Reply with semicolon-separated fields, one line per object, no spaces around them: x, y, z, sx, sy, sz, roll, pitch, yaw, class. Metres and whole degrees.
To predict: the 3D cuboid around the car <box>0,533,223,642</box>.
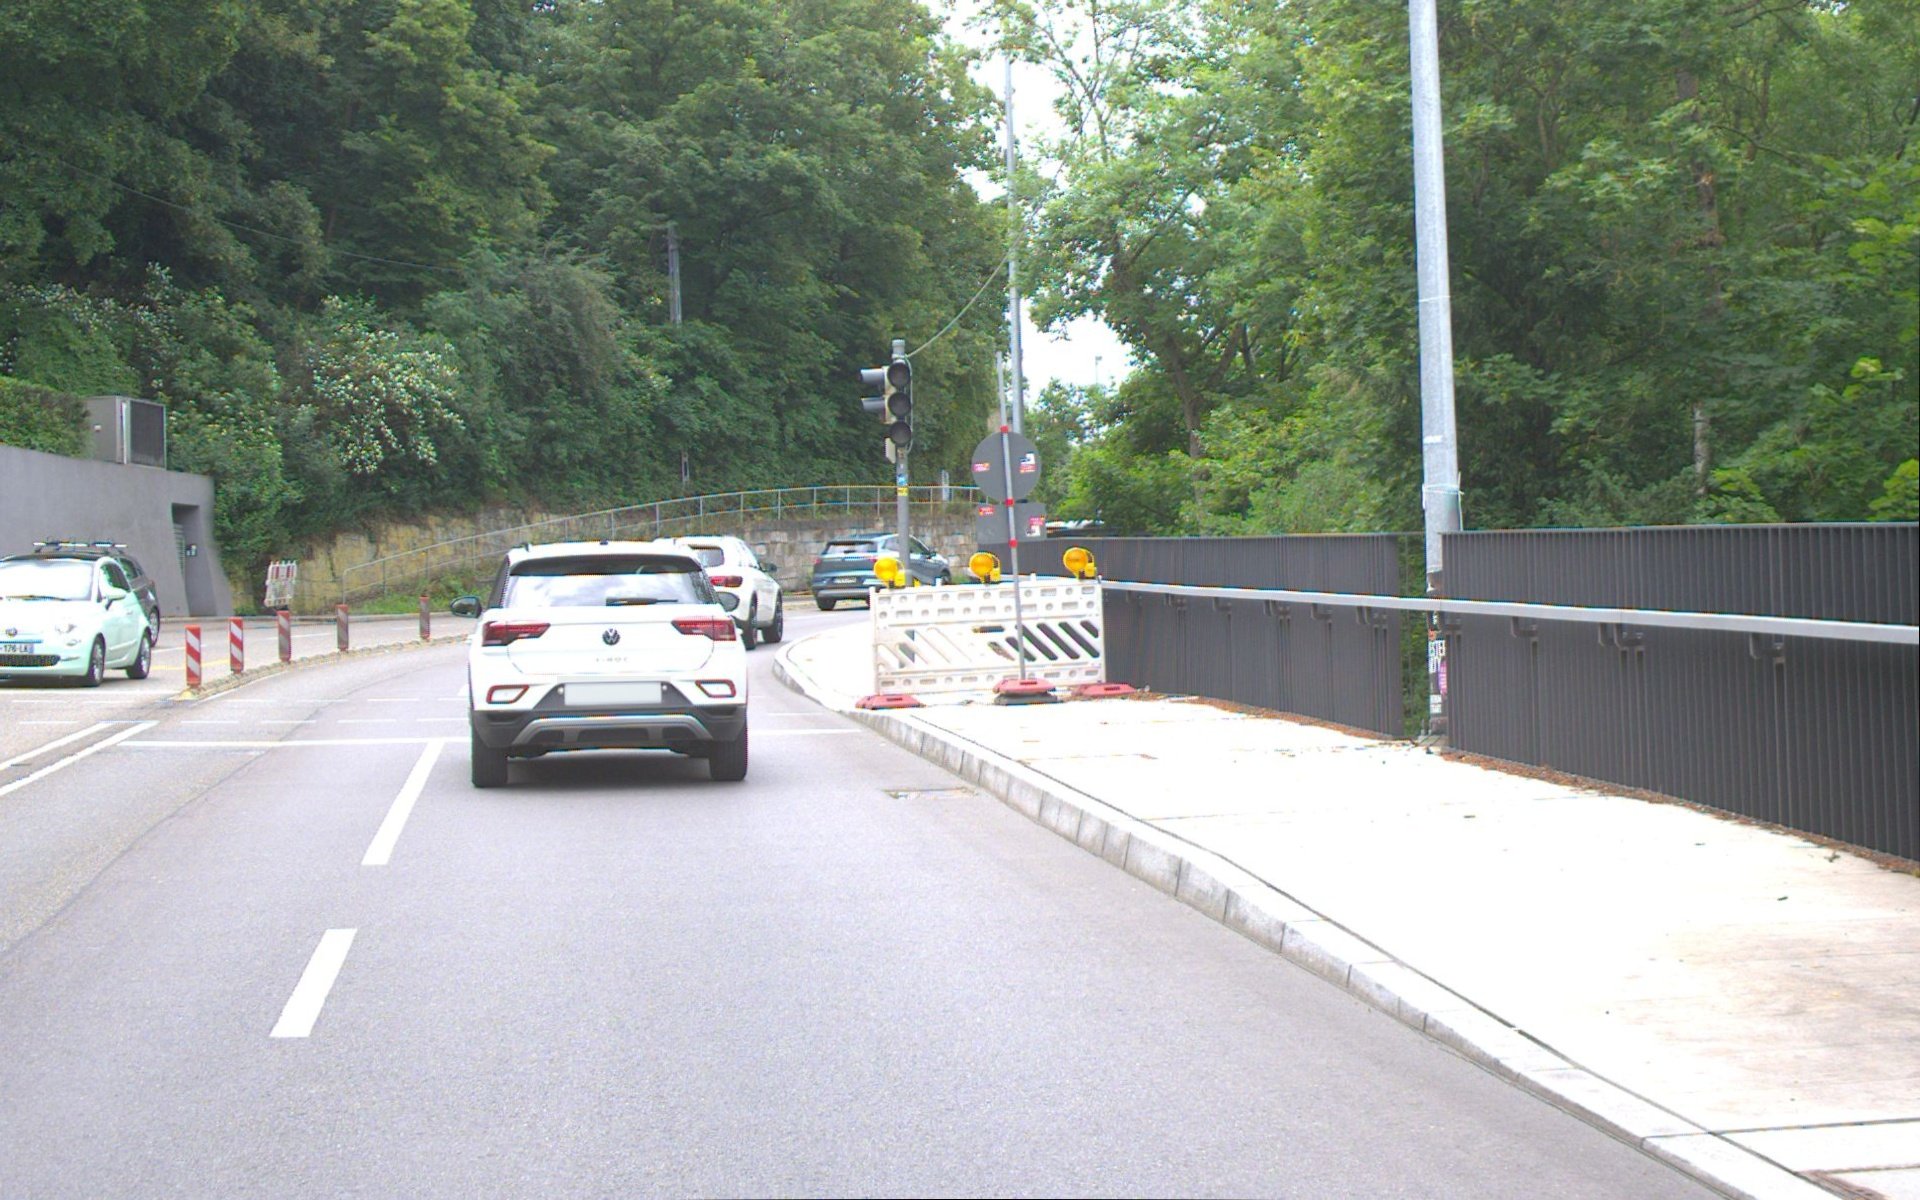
-12.946;-0.205;52.302;1.712;1.592;4.204;0;1;14;car

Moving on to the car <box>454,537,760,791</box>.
-2.441;0.354;23.037;1.866;1.531;3.804;0;1;-8;car

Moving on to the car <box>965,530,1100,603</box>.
1.778;-0.803;82.917;1.818;1.684;3.995;1;1;24;car

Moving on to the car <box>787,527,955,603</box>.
-1.844;-0.733;72.485;1.996;1.535;4.005;1;1;24;car

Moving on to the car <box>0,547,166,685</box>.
-10.364;0.146;39.163;1.711;1.461;3.660;1;1;1;car

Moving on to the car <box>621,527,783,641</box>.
-3.749;-0.240;50.607;1.993;1.581;4.000;1;0;1;car

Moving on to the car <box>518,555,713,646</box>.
-6.230;0.002;62.659;1.908;1.568;3.996;1;1;21;car
